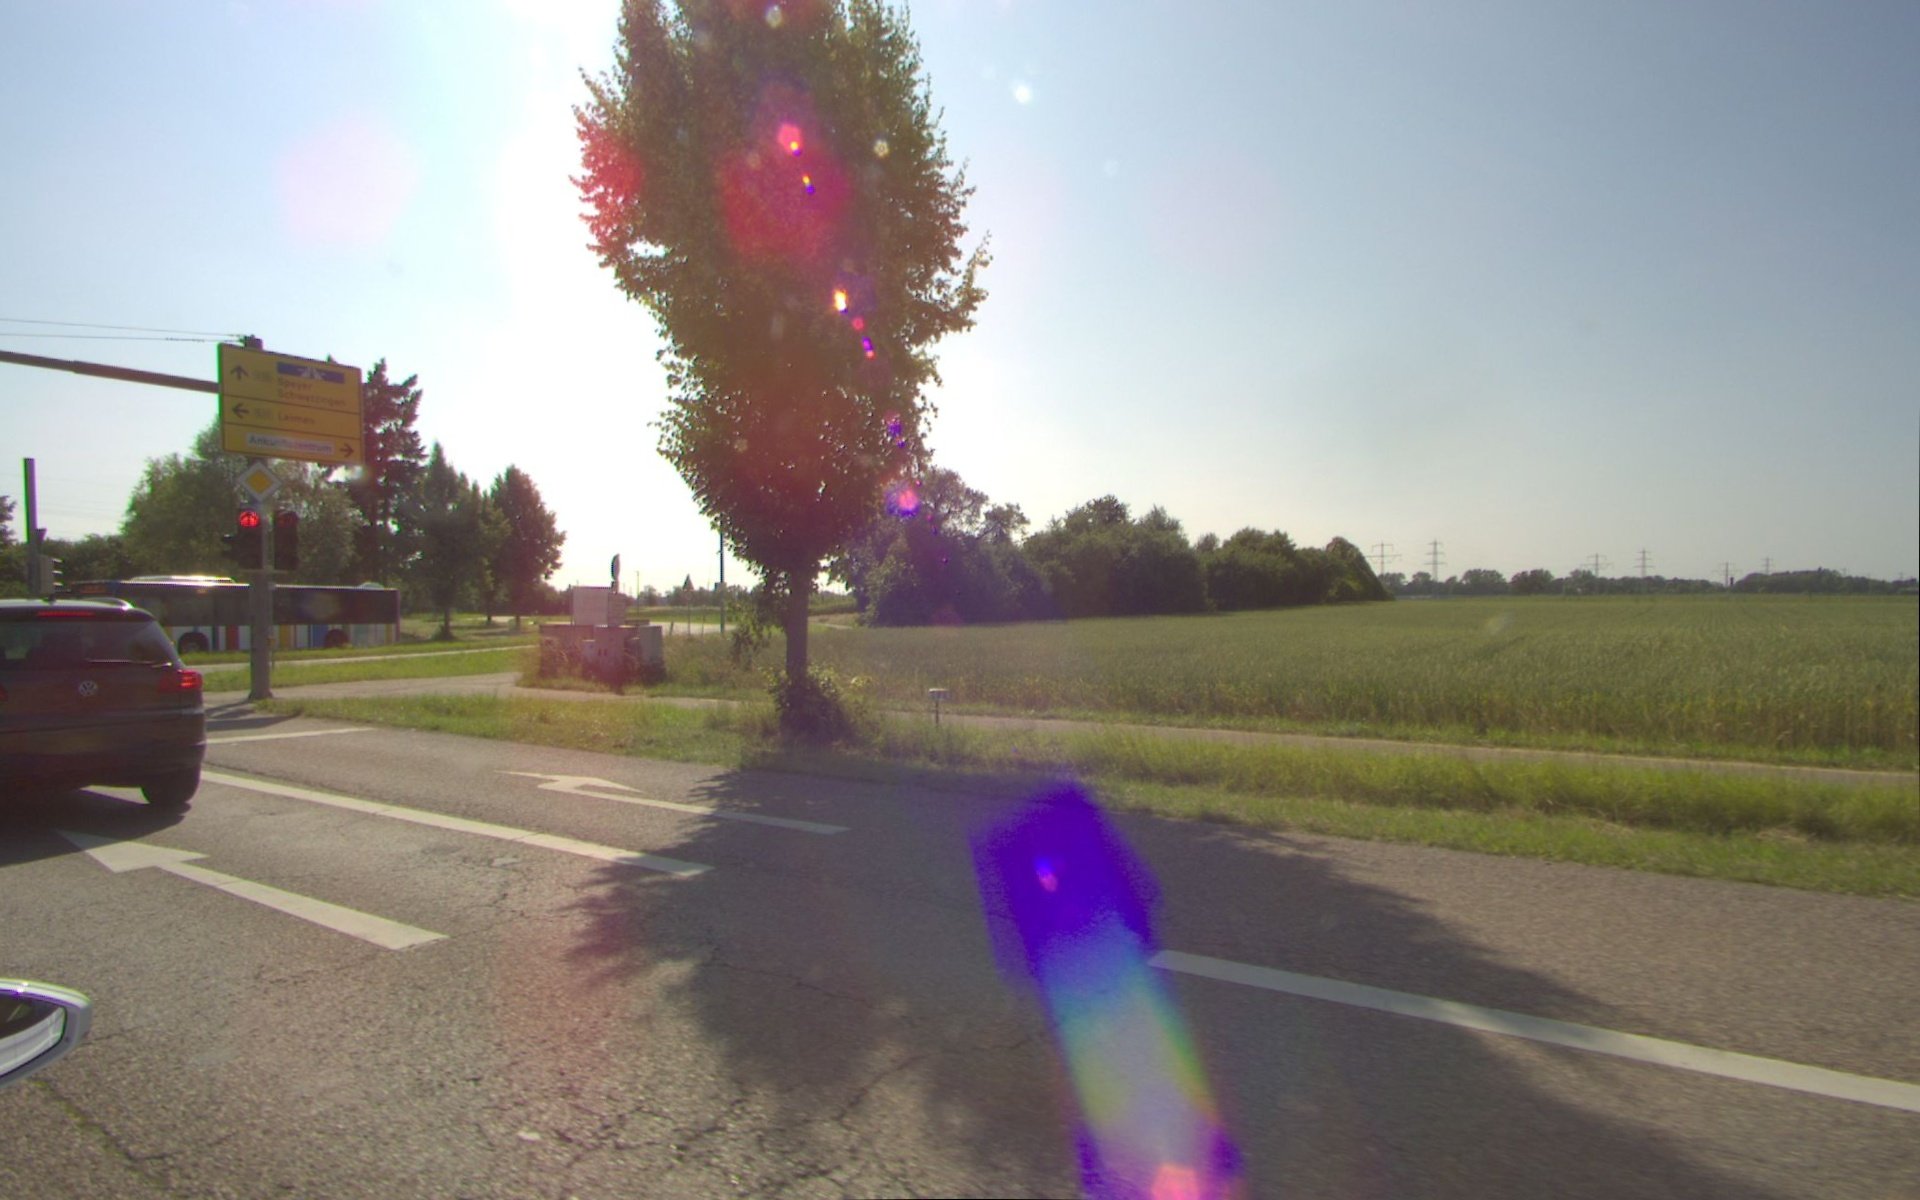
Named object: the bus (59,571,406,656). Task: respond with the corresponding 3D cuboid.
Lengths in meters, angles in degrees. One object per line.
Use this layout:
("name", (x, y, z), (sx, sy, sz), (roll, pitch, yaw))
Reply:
("bus", (-28.483, 0.460, 40.476), (2.889, 2.915, 11.956), (-1, 0, 17))

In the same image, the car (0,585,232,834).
("car", (-7.966, 0.779, 8.267), (4.086, 1.676, 1.753), (-1, -2, 32))
